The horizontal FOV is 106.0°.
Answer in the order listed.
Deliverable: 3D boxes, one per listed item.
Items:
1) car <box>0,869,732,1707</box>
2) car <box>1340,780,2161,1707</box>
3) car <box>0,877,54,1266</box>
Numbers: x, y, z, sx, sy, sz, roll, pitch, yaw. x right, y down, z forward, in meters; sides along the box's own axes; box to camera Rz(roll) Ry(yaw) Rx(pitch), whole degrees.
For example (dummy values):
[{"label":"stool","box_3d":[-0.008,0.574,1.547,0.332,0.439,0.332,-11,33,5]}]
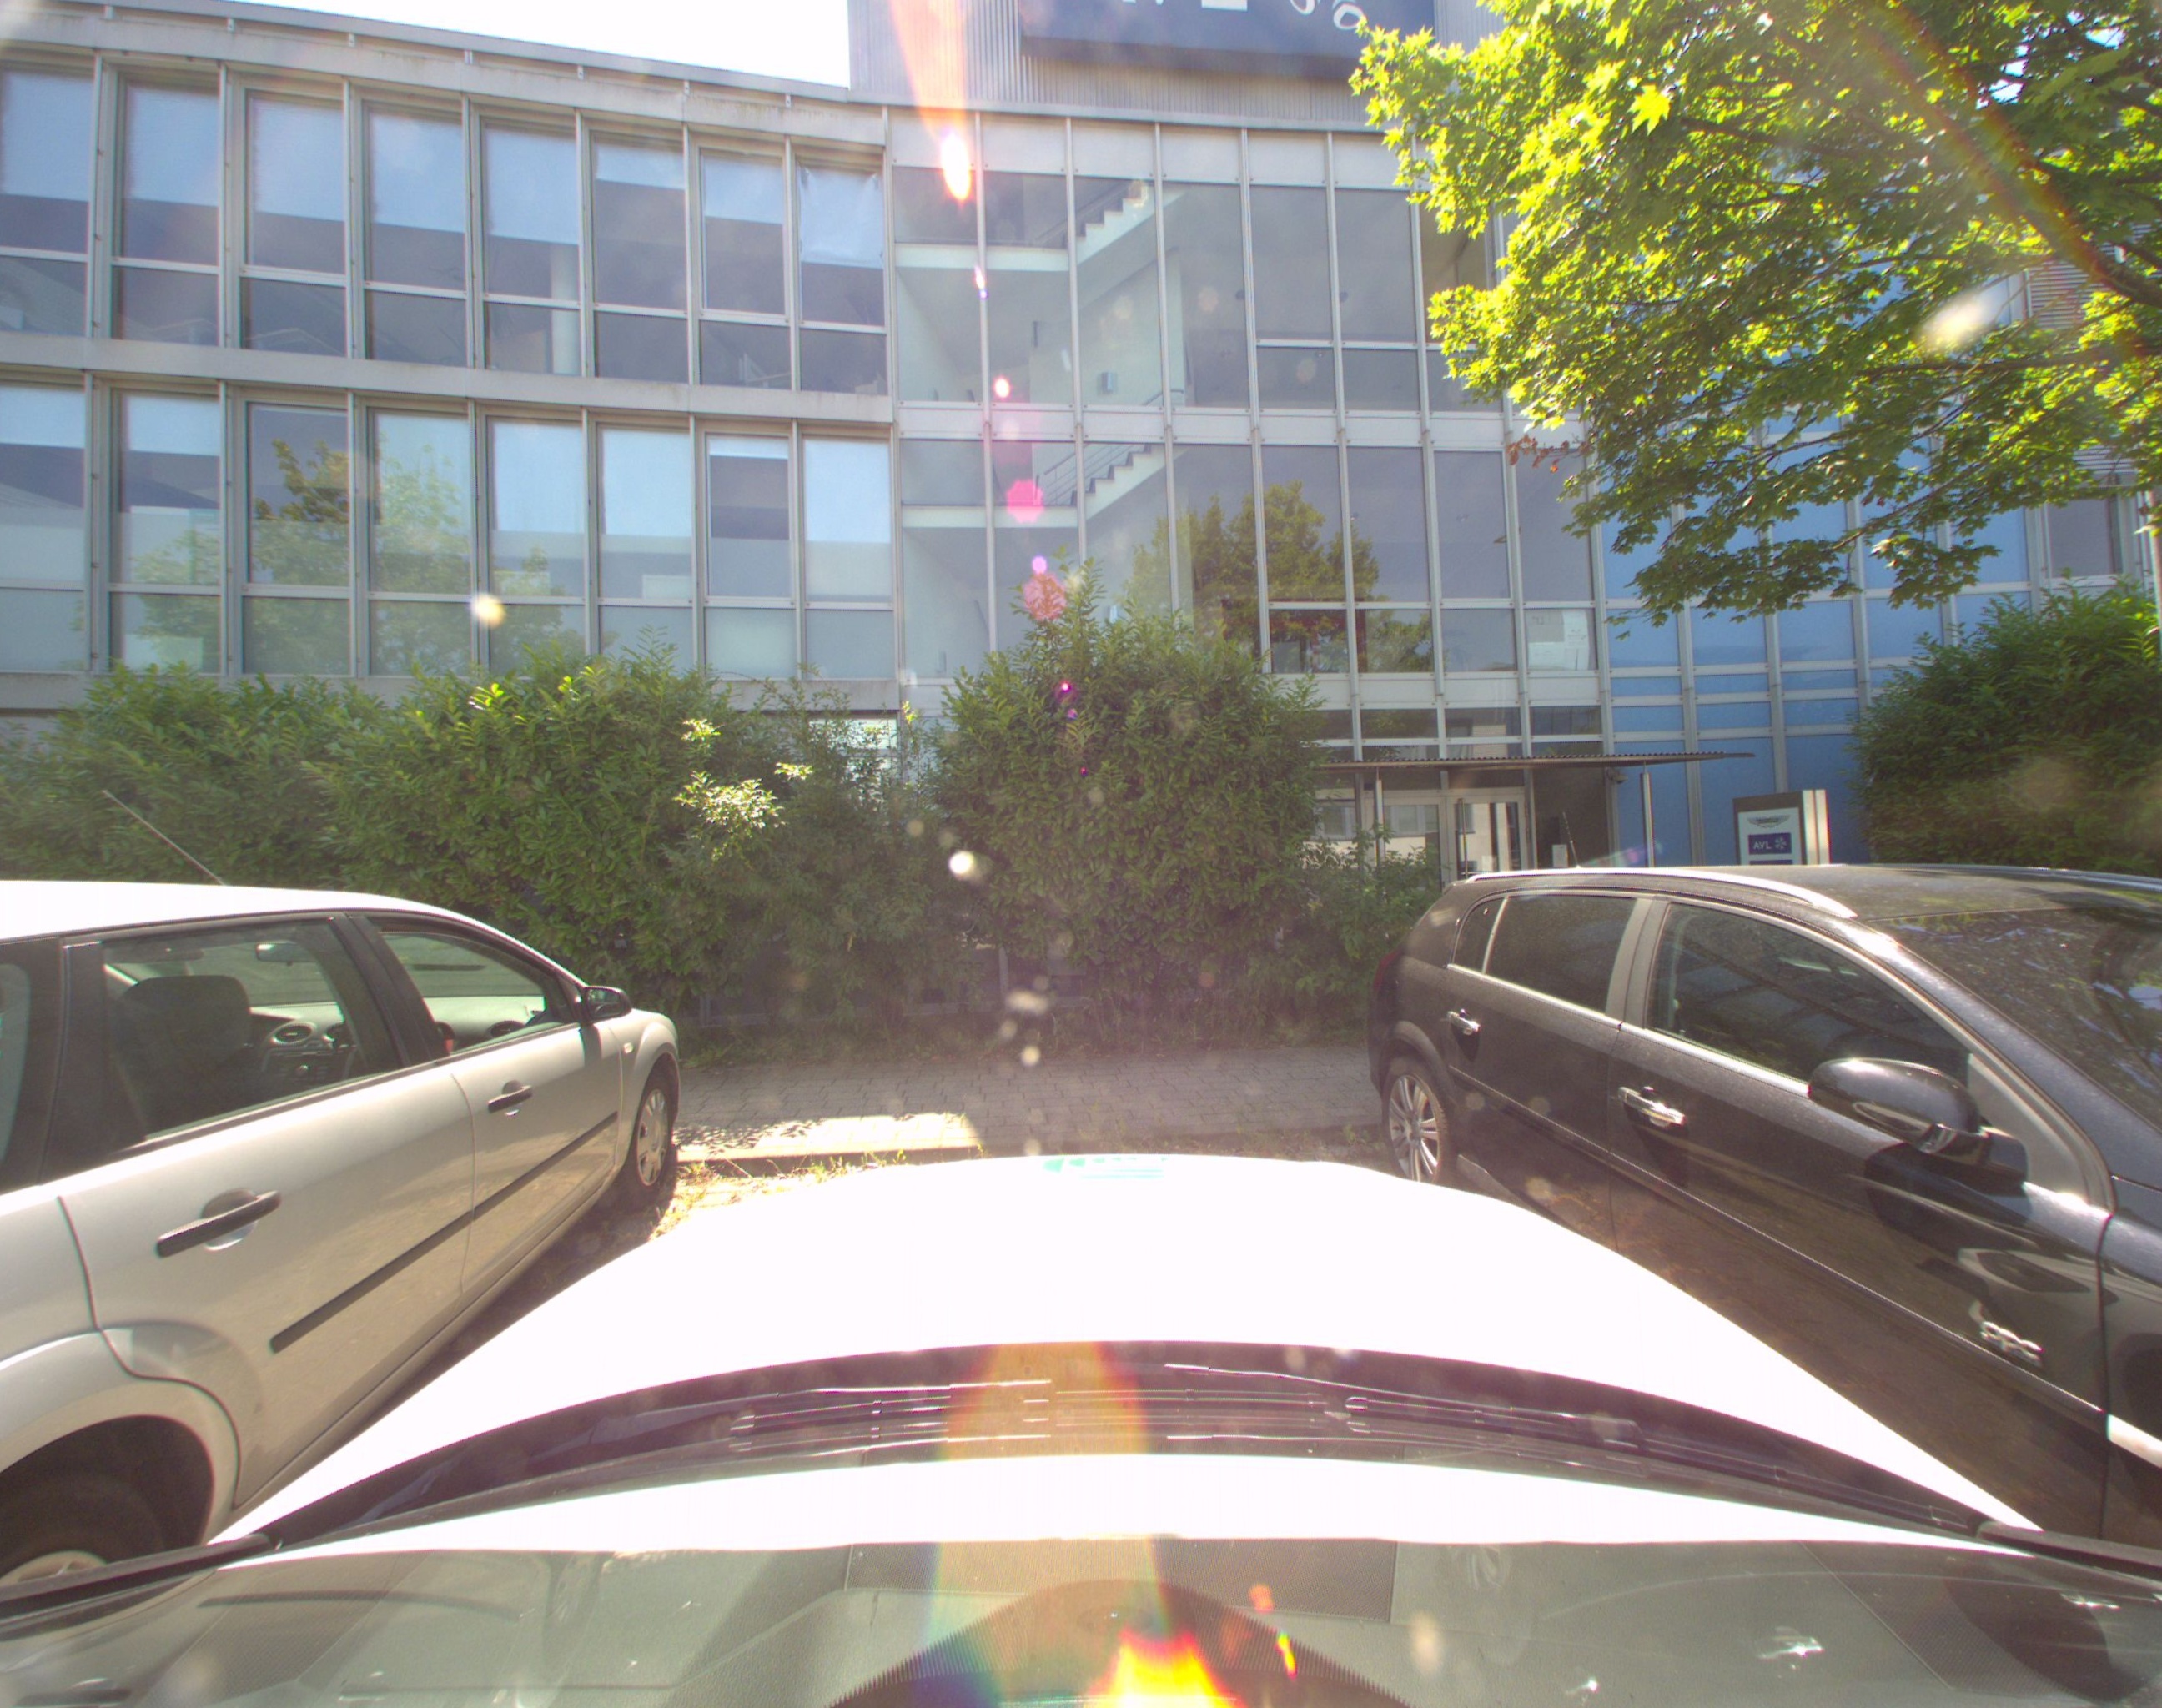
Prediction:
[{"label":"car","box_3d":[-2.467,0.793,2.176,1.718,1.479,4.336,-1,-1,-8]},{"label":"car","box_3d":[2.424,0.674,2.229,1.754,1.549,4.559,-1,-1,-3]},{"label":"car","box_3d":[-4.606,0.801,1.211,1.648,1.479,3.877,-1,-1,-11]}]
